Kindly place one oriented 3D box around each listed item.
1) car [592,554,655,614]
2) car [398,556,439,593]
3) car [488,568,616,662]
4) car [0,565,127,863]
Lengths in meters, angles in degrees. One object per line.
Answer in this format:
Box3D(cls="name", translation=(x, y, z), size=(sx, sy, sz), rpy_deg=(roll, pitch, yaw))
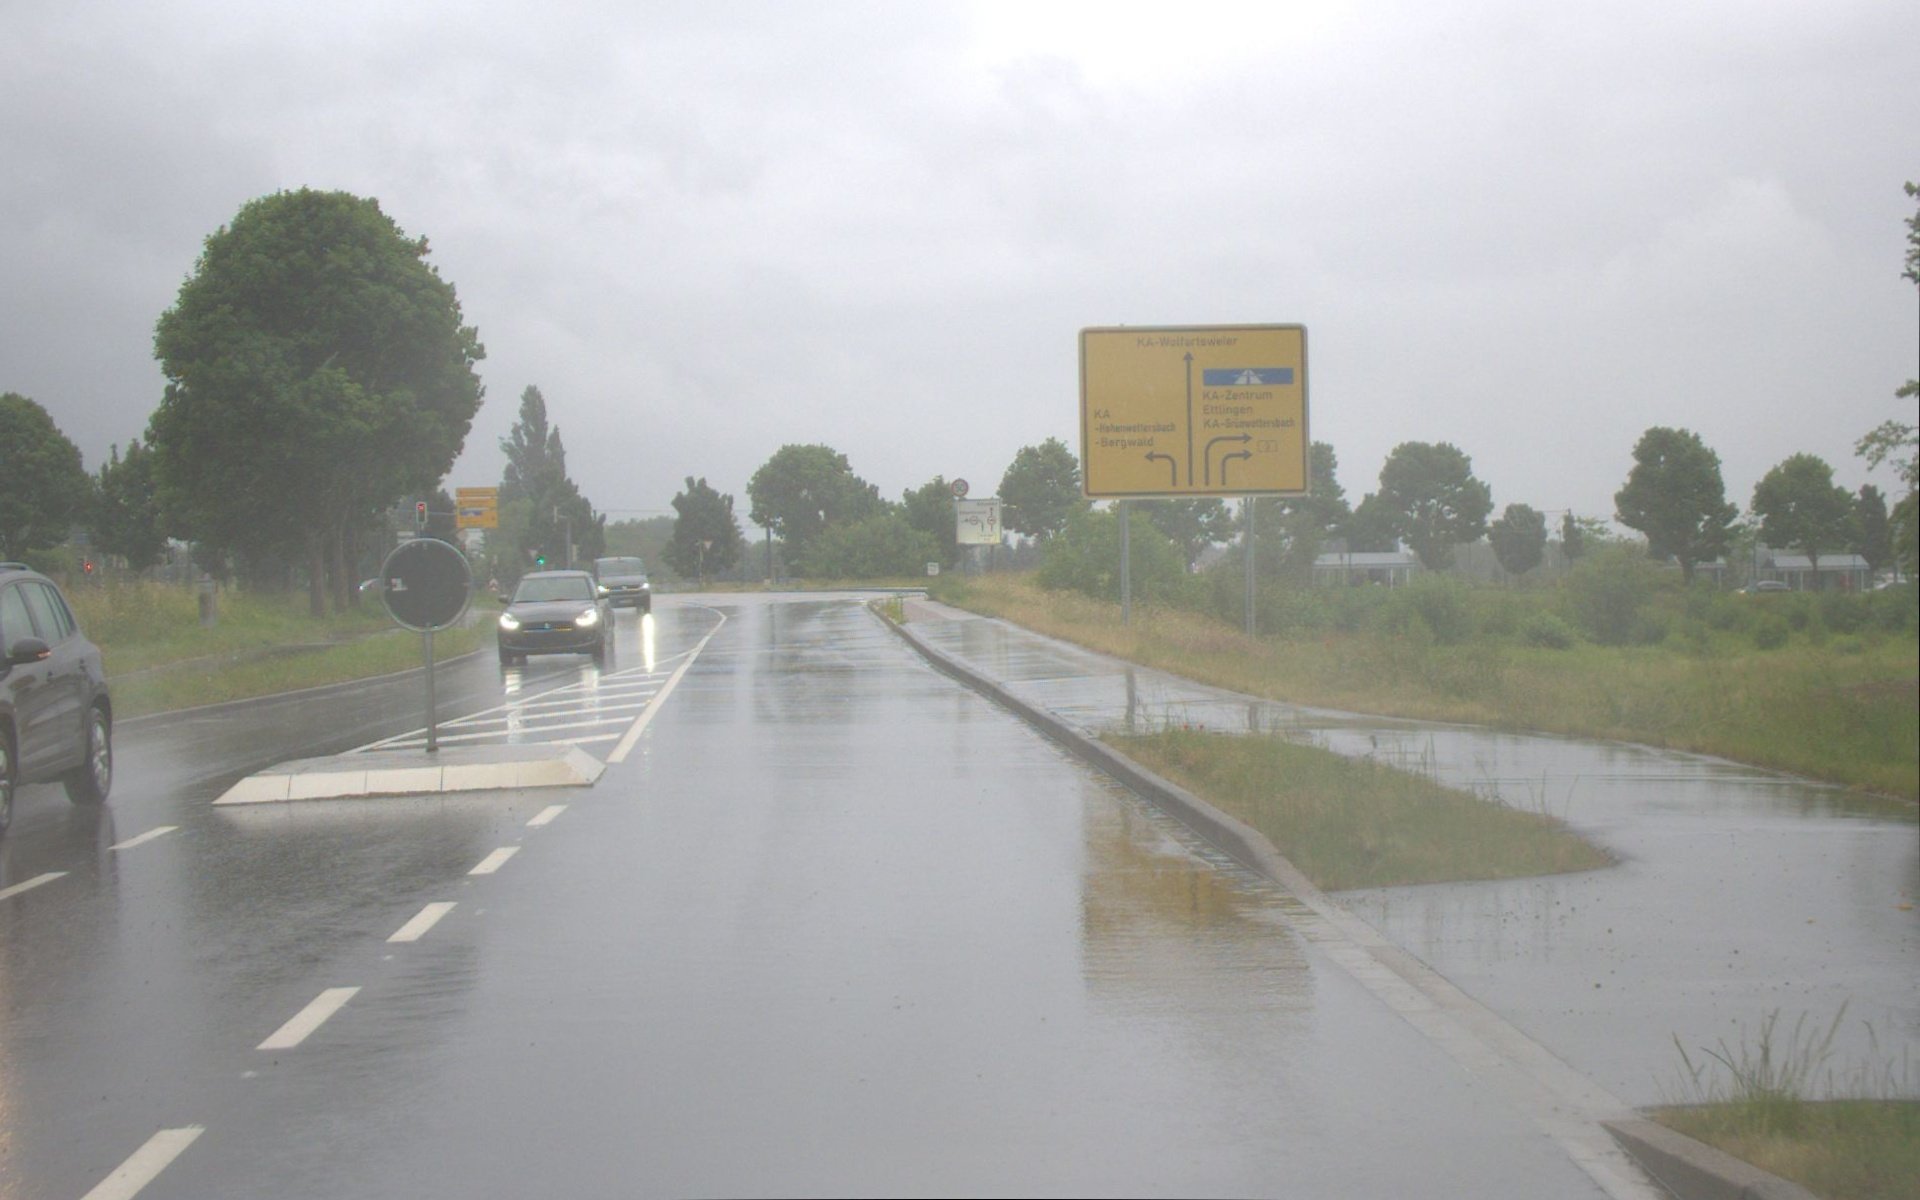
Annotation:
Box3D(cls="car", translation=(-11.865, -0.585, 121.582), size=(1.993, 1.965, 4.958), rpy_deg=(-3, 1, -4))
Box3D(cls="car", translation=(-27.994, -1.339, 177.747), size=(1.905, 1.715, 4.001), rpy_deg=(-5, 2, -10))
Box3D(cls="car", translation=(-6.816, 0.229, 57.705), size=(1.697, 1.397, 3.767), rpy_deg=(-3, 1, -1))
Box3D(cls="car", translation=(-6.635, 0.716, 21.662), size=(1.741, 1.712, 4.267), rpy_deg=(-3, 2, -1))
